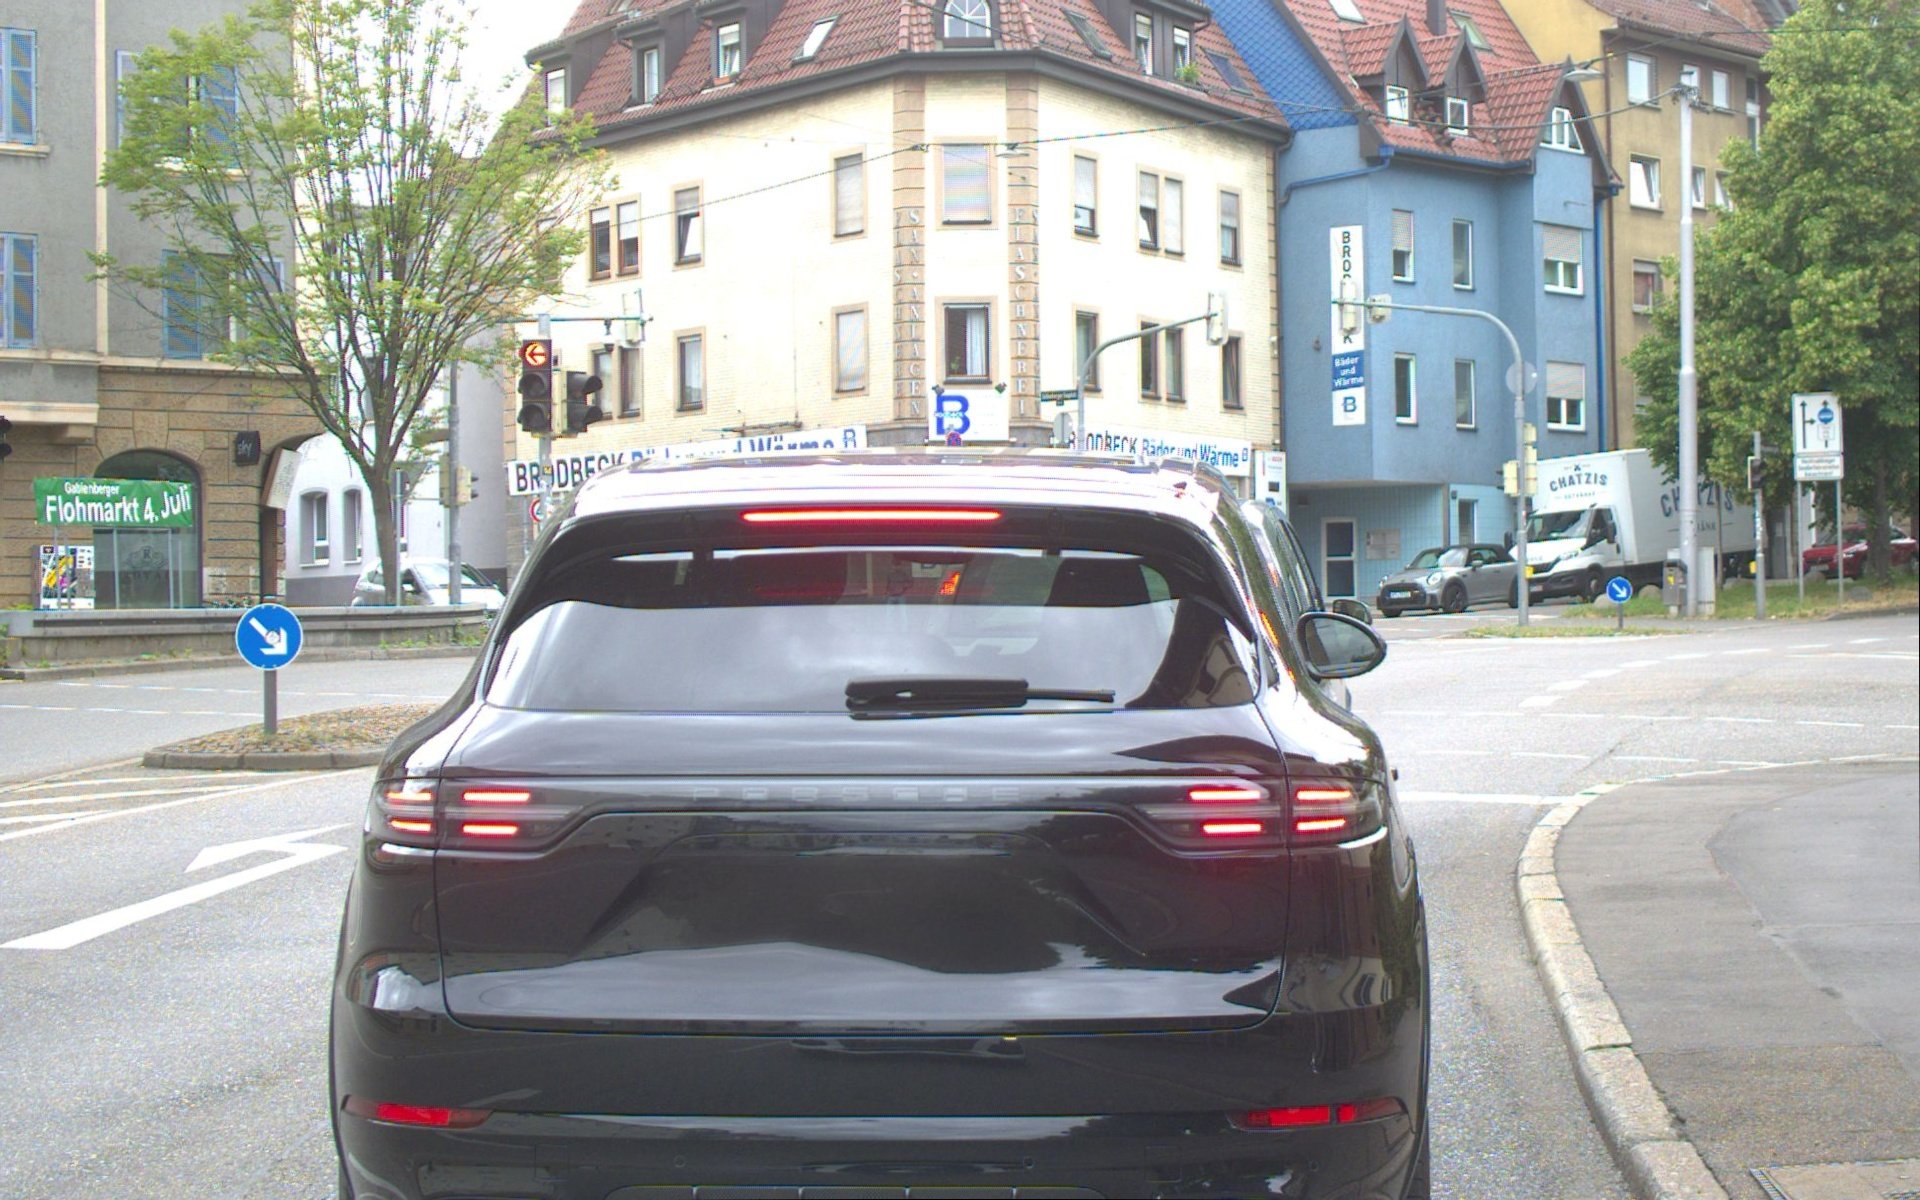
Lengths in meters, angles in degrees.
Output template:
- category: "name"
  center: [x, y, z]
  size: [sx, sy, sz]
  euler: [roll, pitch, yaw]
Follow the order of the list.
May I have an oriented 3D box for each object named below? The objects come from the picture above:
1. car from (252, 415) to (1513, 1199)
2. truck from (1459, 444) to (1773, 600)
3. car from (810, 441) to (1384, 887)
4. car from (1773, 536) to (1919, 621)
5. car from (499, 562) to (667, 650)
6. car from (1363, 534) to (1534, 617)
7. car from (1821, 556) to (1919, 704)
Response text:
- category: "car"
  center: [-0.229, 0.495, 7.405]
  size: [1.978, 1.678, 4.001]
  euler: [0, 2, -3]
- category: "truck"
  center: [15.074, -1.722, 78.401]
  size: [2.880, 3.328, 8.772]
  euler: [2, 1, 41]
- category: "car"
  center: [0.750, 0.215, 15.068]
  size: [1.994, 1.678, 3.998]
  euler: [0, 1, 10]
- category: "car"
  center: [22.309, -0.534, 86.146]
  size: [1.999, 2.007, 3.990]
  euler: [2, 1, 43]
- category: "car"
  center: [-6.937, 0.093, 63.608]
  size: [1.890, 1.574, 3.967]
  euler: [-1, 0, 13]
- category: "car"
  center: [10.242, -0.526, 71.883]
  size: [1.997, 1.678, 3.992]
  euler: [0, 1, 34]
- category: "car"
  center: [14.019, 0.437, 47.021]
  size: [1.994, 2.007, 4.000]
  euler: [1, 0, -35]
